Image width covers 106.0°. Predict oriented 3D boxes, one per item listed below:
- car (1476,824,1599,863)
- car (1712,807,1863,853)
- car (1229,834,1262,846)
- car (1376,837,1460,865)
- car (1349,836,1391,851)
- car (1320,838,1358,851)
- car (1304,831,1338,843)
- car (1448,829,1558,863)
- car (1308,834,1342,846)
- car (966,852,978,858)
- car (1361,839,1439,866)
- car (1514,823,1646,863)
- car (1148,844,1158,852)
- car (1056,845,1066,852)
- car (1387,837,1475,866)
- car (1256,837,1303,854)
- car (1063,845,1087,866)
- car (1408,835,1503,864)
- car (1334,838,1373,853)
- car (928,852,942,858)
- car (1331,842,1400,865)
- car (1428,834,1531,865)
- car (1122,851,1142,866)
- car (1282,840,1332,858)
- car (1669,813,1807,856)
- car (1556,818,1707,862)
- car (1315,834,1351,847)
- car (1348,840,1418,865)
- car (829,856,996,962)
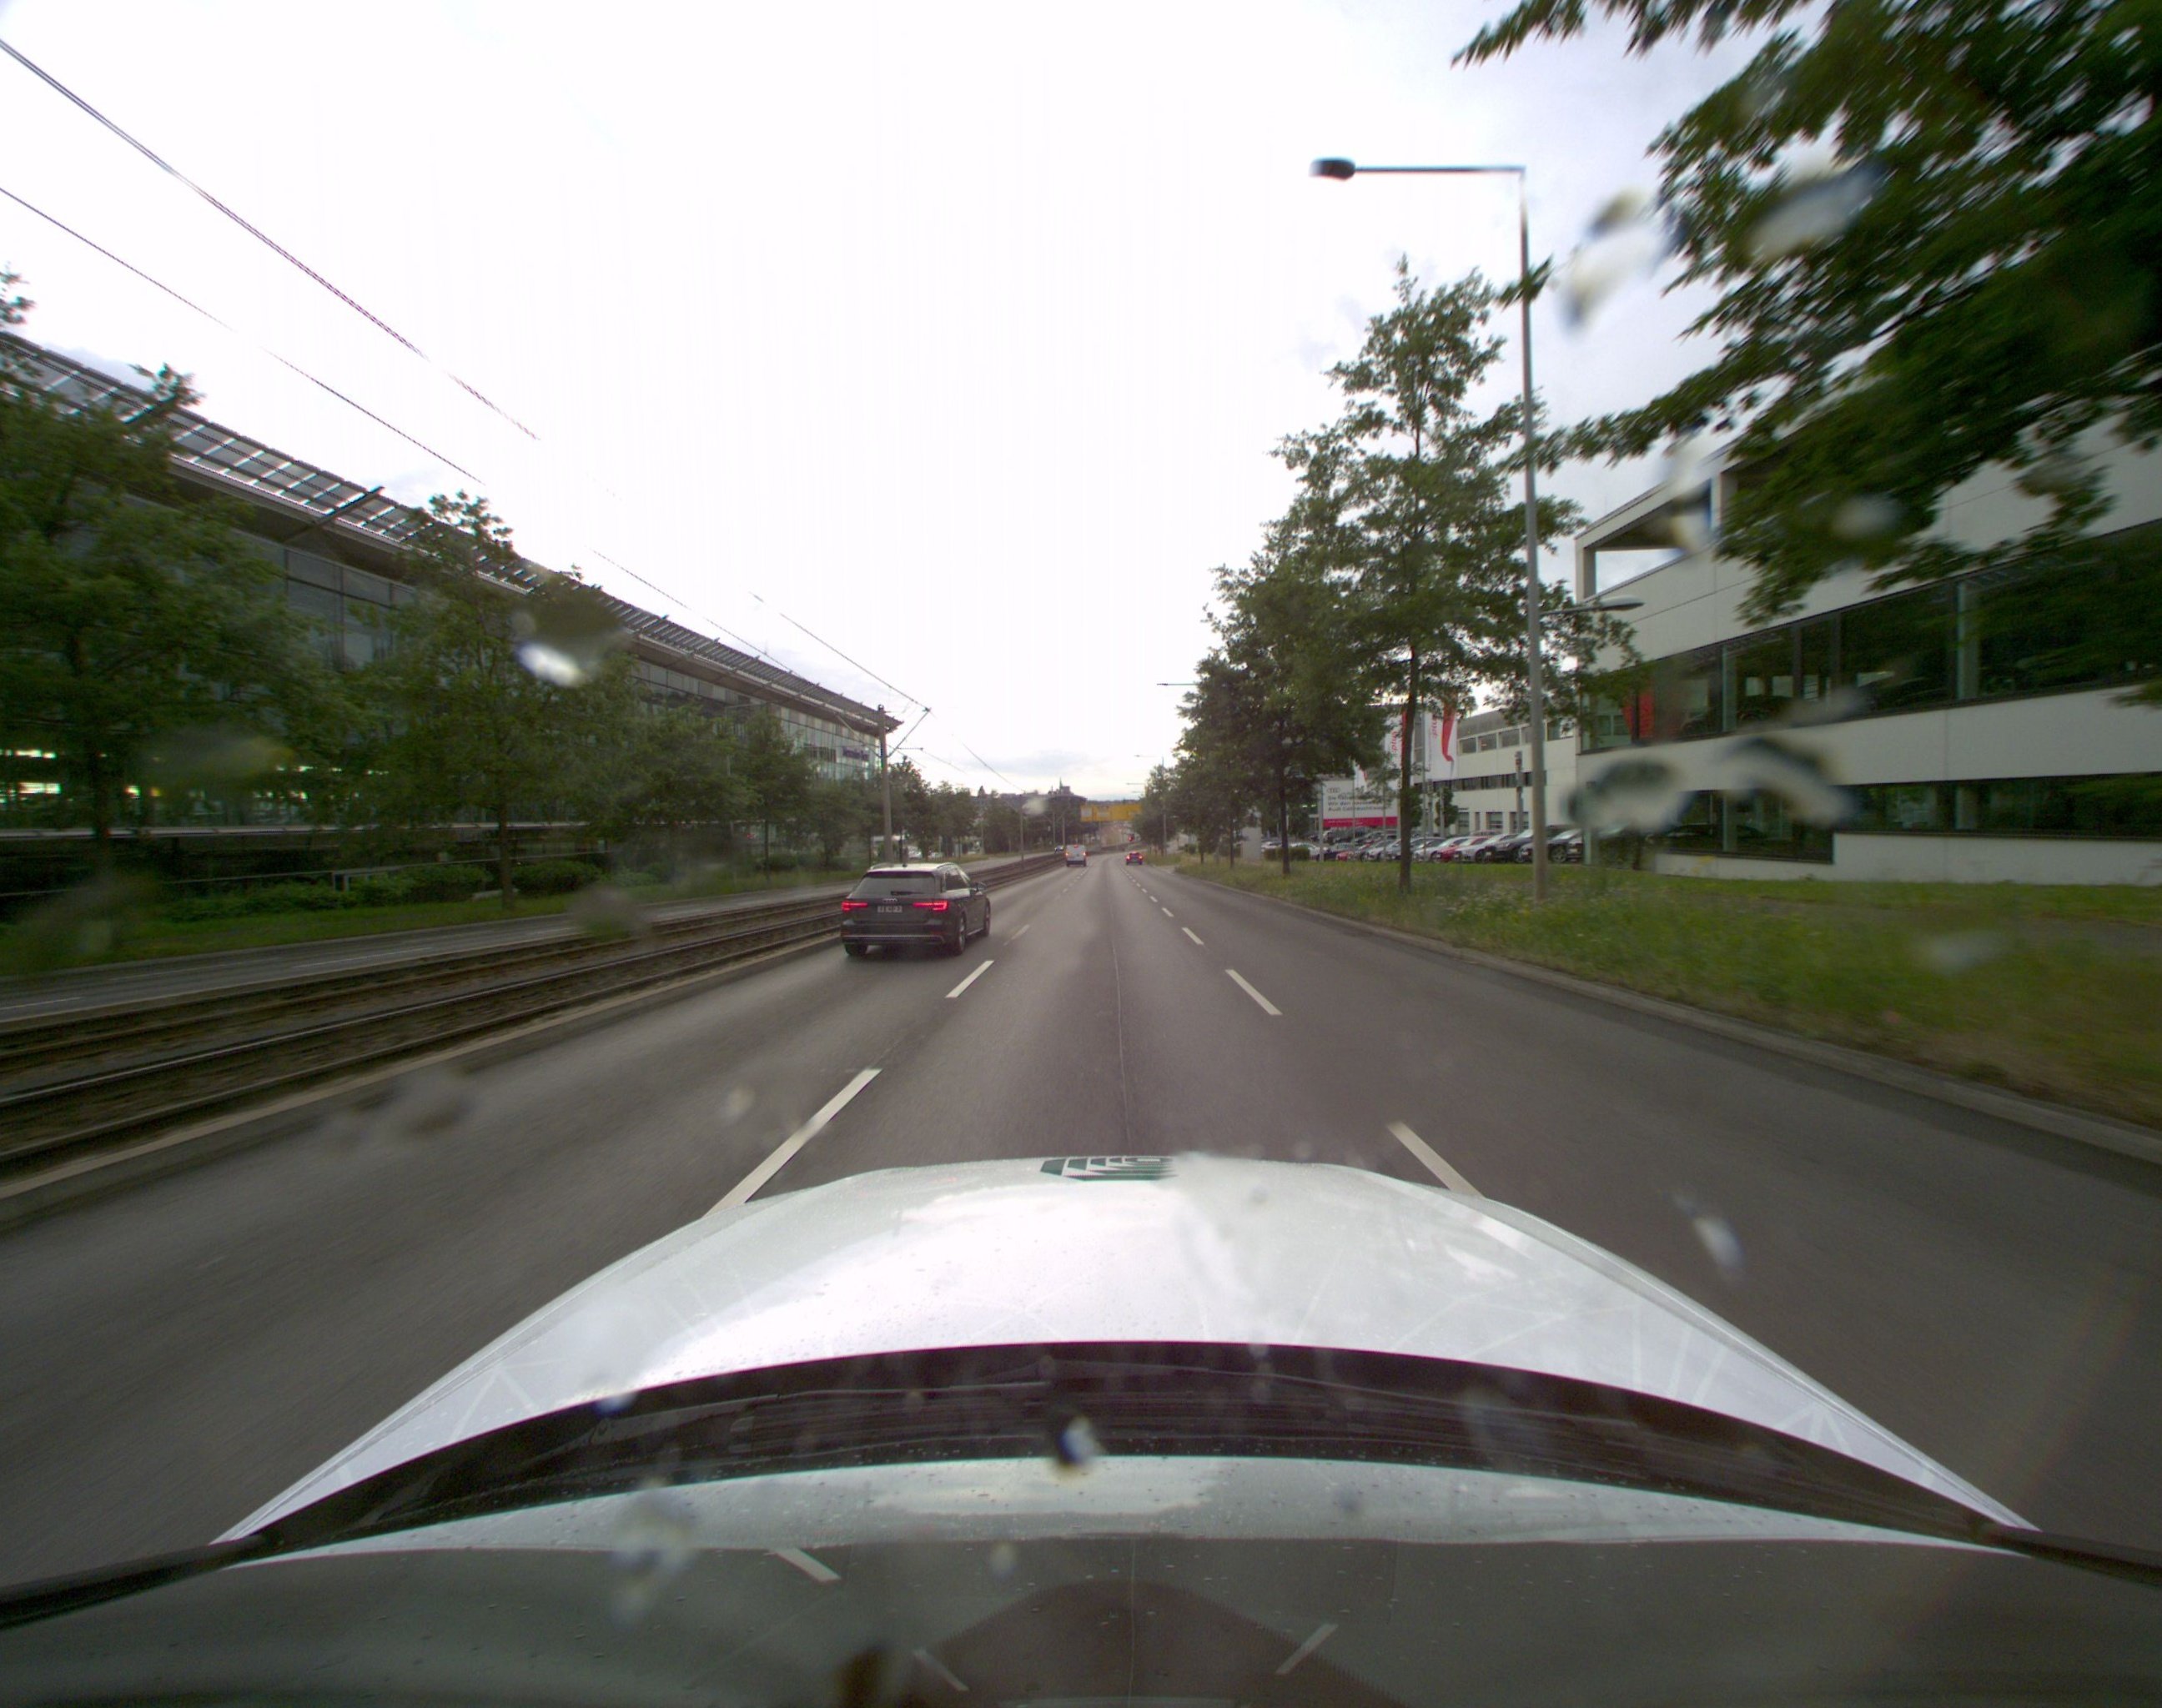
[{"bbox_3d":[20.567,-0.443,36.800,4.381,1.500,2.041,-3,-1,1],"label":"car"},{"bbox_3d":[27.202,-0.905,31.429,4.264,1.551,1.826,-2,-1,-1],"label":"car"},{"bbox_3d":[22.652,-1.971,112.493,4.245,1.574,1.692,-1,1,0],"label":"car"},{"bbox_3d":[21.357,-0.173,51.726,4.446,1.528,1.931,-3,-1,0],"label":"car"},{"bbox_3d":[32.554,-1.176,91.881,4.092,1.574,1.692,-2,0,0],"label":"car"},{"bbox_3d":[31.466,-1.172,99.396,4.092,1.574,1.826,-1,1,0],"label":"car"},{"bbox_3d":[33.144,-2.327,112.545,4.092,1.574,1.693,-1,1,0],"label":"car"},{"bbox_3d":[20.563,-0.356,39.818,4.381,1.427,1.891,-3,-1,1],"label":"car"},{"bbox_3d":[32.765,-1.851,109.532,4.092,1.574,1.759,-1,1,0],"label":"car"},{"bbox_3d":[-25.779,0.195,192.521,2.002,1.510,3.968,0,-1,-24],"label":"car"},{"bbox_3d":[21.403,-0.101,54.708,4.446,1.551,1.931,-3,-1,0],"label":"car"},{"bbox_3d":[20.464,-0.432,33.490,4.307,1.378,1.836,-3,-1,-2],"label":"car"},{"bbox_3d":[16.143,-1.427,182.978,2.013,1.769,4.003,-1,1,3],"label":"car"},{"bbox_3d":[-4.998,-1.383,201.102,1.874,1.520,4.408,-4,1,4],"label":"car"},{"bbox_3d":[20.956,-0.152,48.862,4.446,1.456,1.931,-3,-1,0],"label":"car"},{"bbox_3d":[21.174,-0.886,86.955,4.505,1.594,1.692,-2,-1,0],"label":"car"},{"bbox_3d":[-0.681,0.143,86.842,2.504,2.177,5.147,0,0,-1],"label":"car"},{"bbox_3d":[21.007,-0.233,45.849,4.446,1.456,1.931,-2,-1,0],"label":"car"},{"bbox_3d":[32.301,-1.026,96.707,4.092,1.574,1.693,-2,1,0],"label":"car"},{"bbox_3d":[-33.921,0.211,189.350,2.006,1.510,3.962,0,-1,-30],"label":"car"},{"bbox_3d":[21.152,-0.042,60.657,4.452,1.551,1.928,-2,-1,-4],"label":"car"},{"bbox_3d":[20.859,-0.240,42.755,4.383,1.348,1.931,-3,-1,0],"label":"car"},{"bbox_3d":[5.712,0.479,91.269,2.015,1.623,3.998,0,0,-1],"label":"car"},{"bbox_3d":[21.413,-0.496,77.214,4.101,1.594,1.944,-1,-1,-7],"label":"car"},{"bbox_3d":[27.223,-0.773,33.821,4.264,1.551,1.826,-2,-1,-1],"label":"car"},{"bbox_3d":[20.791,-0.518,30.899,4.382,1.481,1.931,-2,-1,0],"label":"car"},{"bbox_3d":[32.471,-1.762,104.943,4.092,1.574,1.693,-1,1,0],"label":"car"},{"bbox_3d":[21.268,-0.082,57.491,4.264,1.593,1.826,-2,-1,-1],"label":"car"},{"bbox_3d":[-2.634,0.787,13.899,1.757,1.463,4.628,0,0,2],"label":"car"}]
